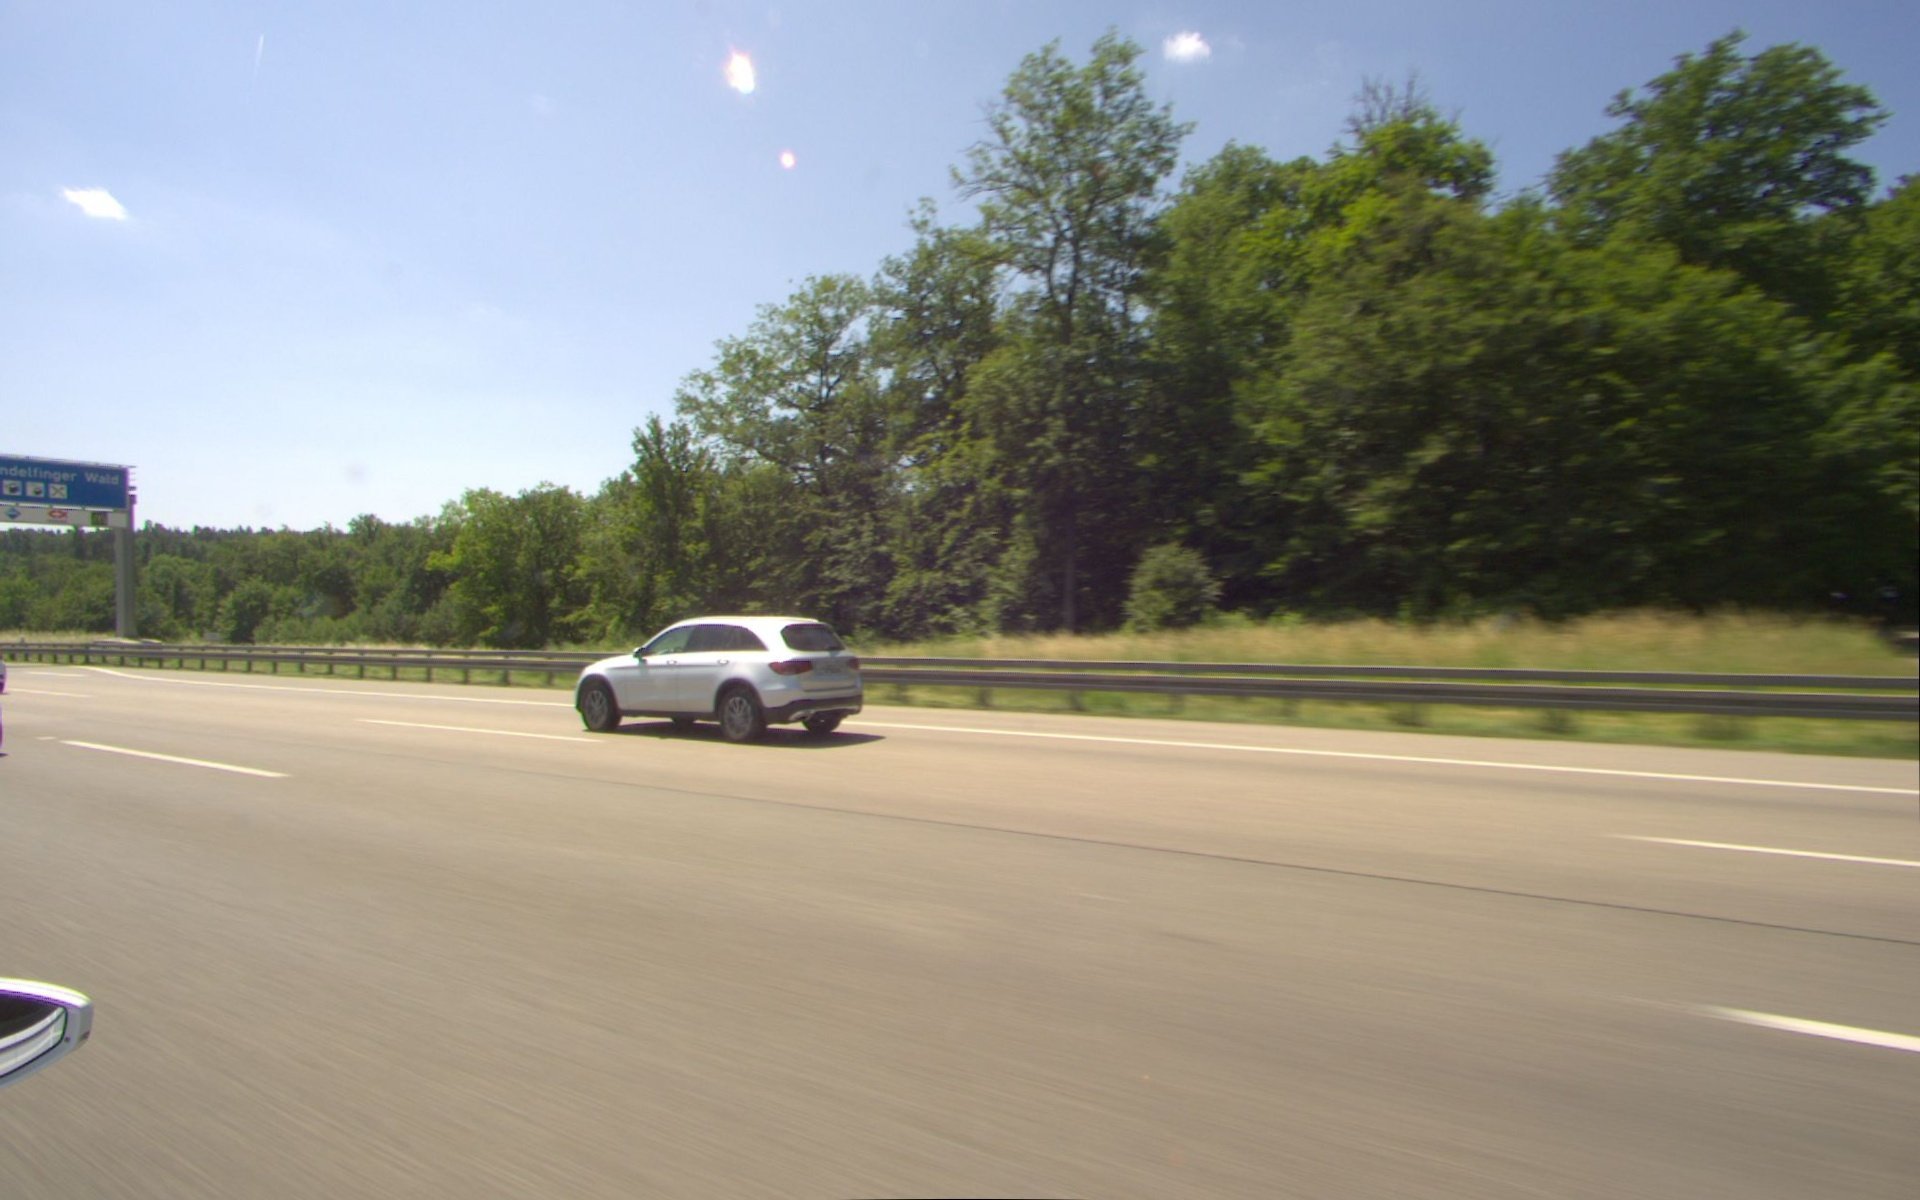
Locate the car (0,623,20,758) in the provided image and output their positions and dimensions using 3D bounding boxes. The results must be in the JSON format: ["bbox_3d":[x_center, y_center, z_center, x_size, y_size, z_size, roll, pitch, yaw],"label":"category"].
[{"bbox_3d":[-13.260,1.025,12.127,3.943,1.572,1.838,0,-2,33],"label":"car"}]

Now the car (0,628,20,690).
[{"bbox_3d":[-24.897,1.431,24.525,4.312,1.452,1.663,-1,0,32],"label":"car"}]

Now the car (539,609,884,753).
[{"bbox_3d":[-3.717,1.045,14.576,5.163,1.753,1.798,0,-1,32],"label":"car"}]
